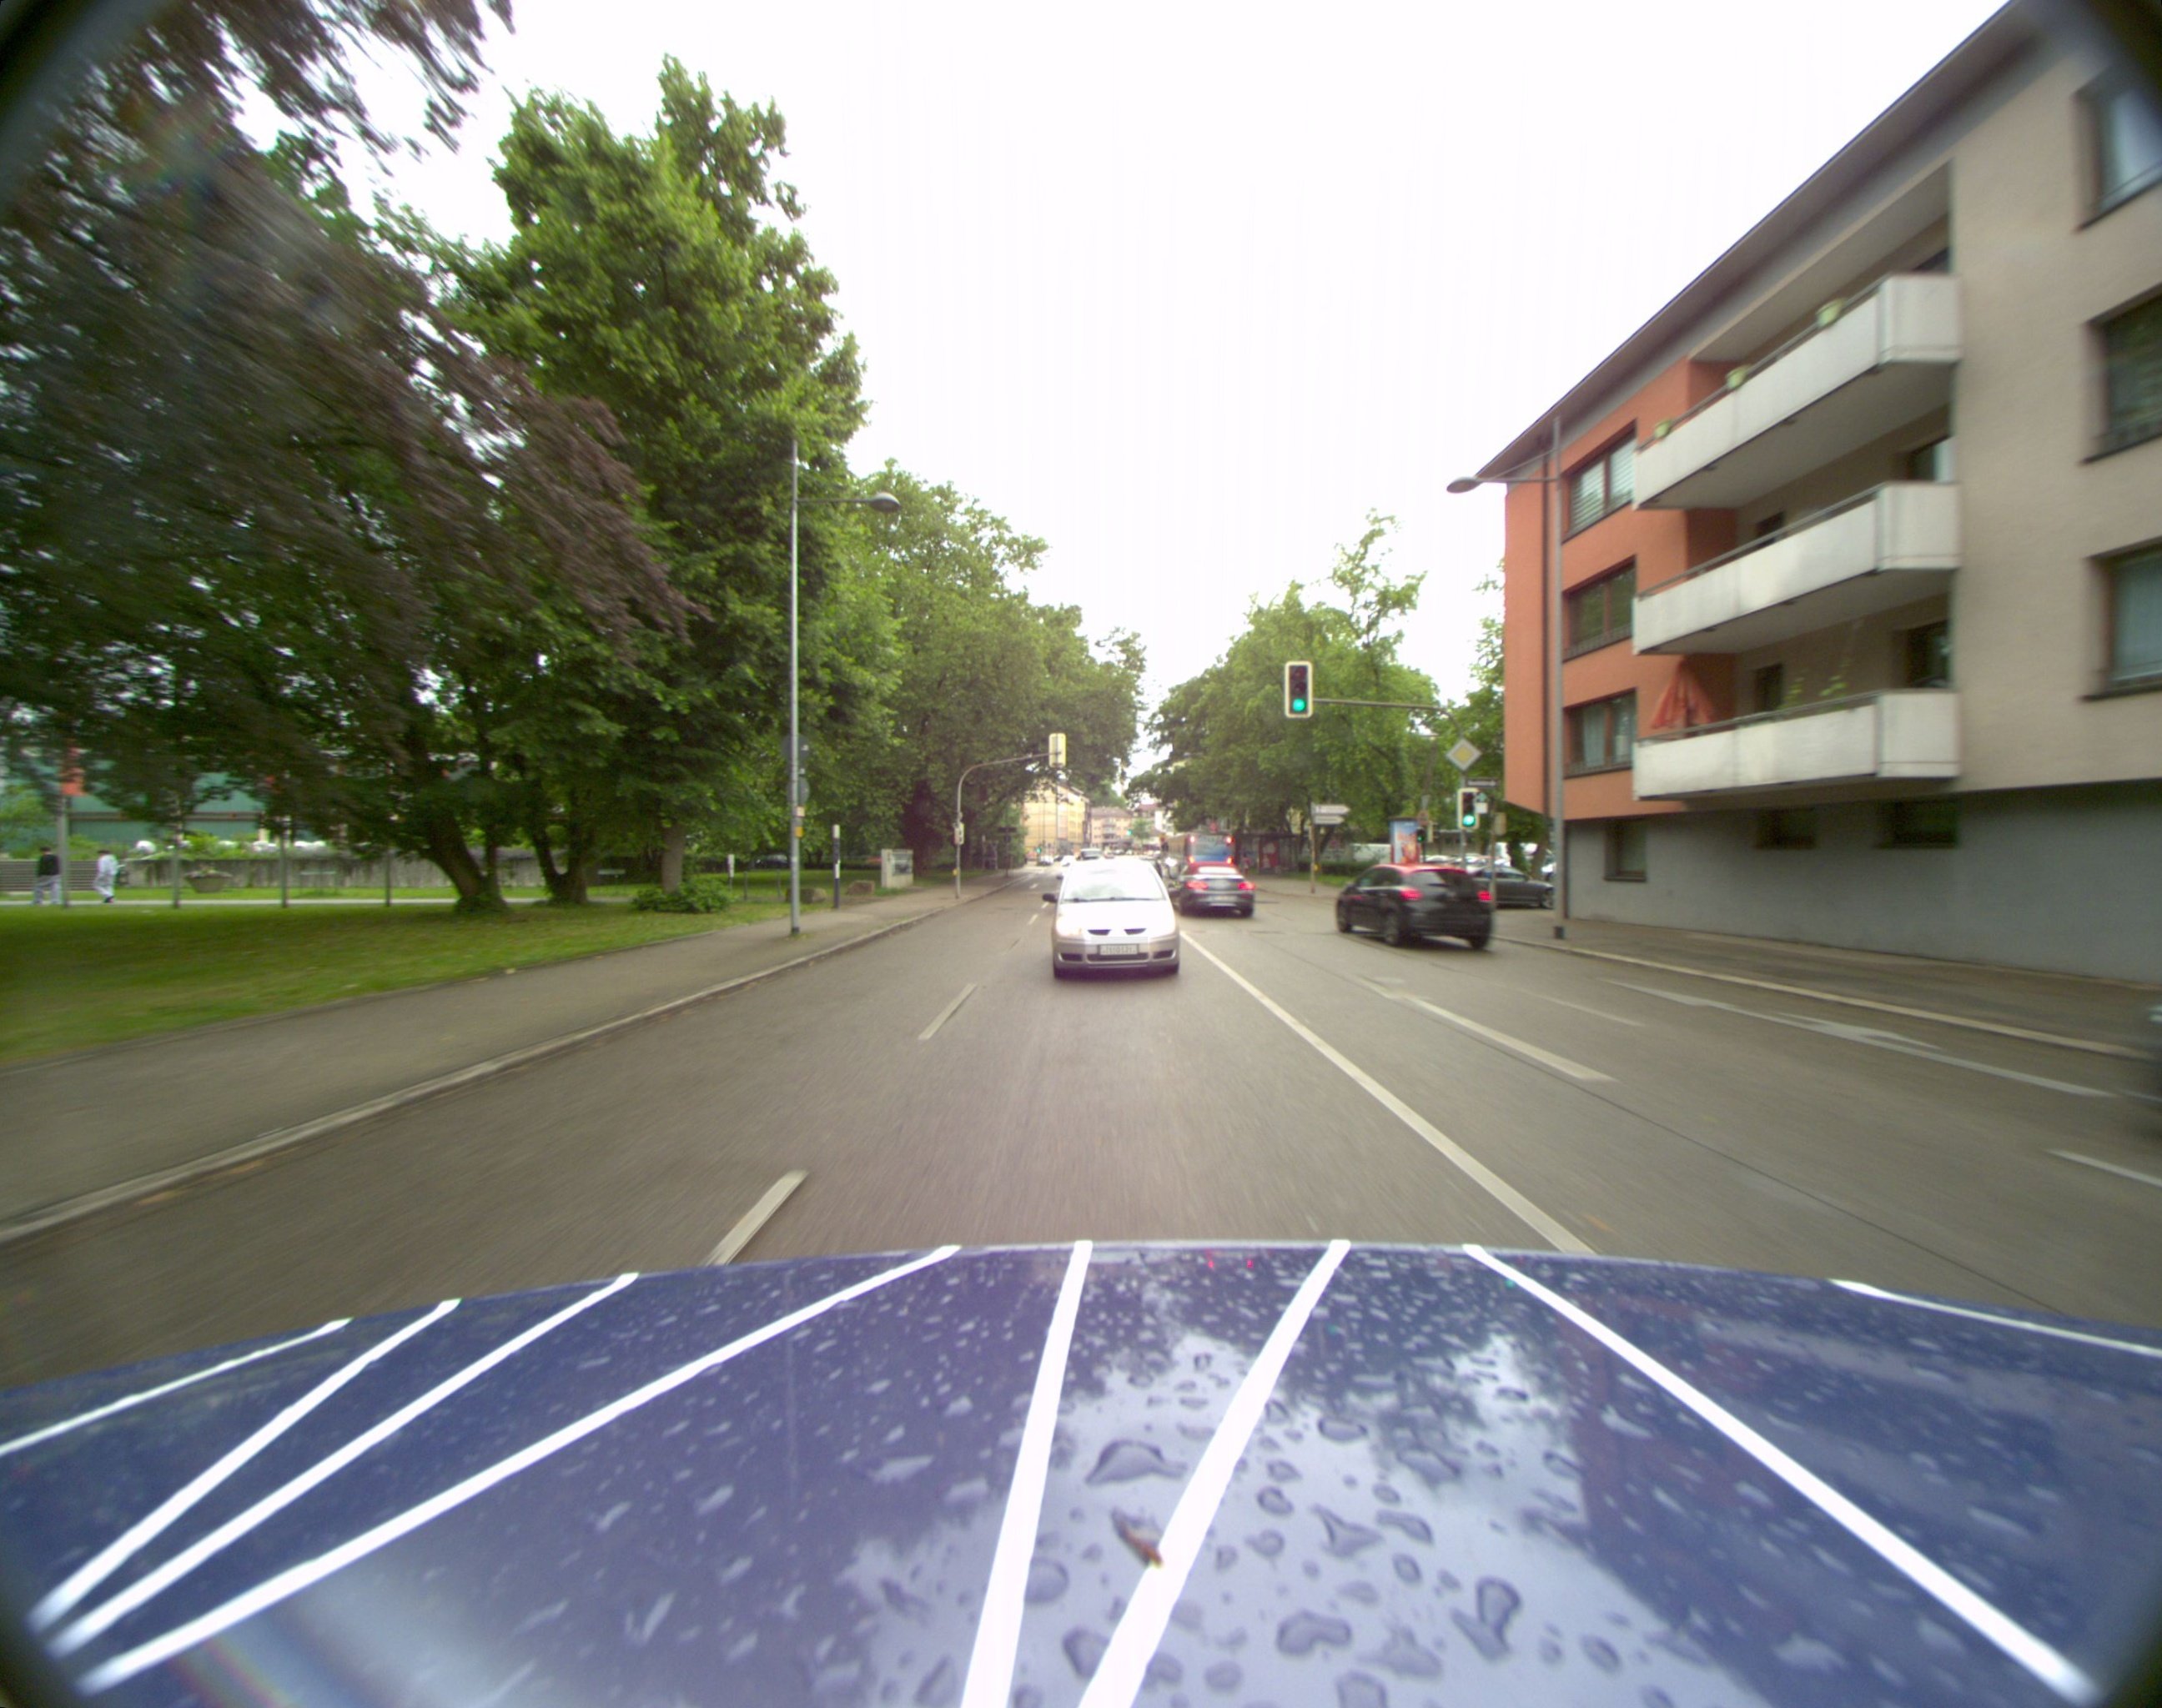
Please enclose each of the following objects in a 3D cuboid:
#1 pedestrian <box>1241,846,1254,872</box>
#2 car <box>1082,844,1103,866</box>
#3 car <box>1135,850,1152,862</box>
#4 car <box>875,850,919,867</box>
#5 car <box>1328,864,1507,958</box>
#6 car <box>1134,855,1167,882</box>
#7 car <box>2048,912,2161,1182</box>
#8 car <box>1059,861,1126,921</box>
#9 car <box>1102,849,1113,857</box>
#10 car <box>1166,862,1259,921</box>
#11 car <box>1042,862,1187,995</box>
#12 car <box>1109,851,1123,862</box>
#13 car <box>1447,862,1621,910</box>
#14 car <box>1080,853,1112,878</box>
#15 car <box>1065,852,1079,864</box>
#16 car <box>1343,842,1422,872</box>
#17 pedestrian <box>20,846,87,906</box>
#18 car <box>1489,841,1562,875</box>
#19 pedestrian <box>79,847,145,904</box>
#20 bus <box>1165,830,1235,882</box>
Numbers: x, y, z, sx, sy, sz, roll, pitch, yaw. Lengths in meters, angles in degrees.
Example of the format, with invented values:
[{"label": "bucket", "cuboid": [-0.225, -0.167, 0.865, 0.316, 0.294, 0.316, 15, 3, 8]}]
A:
[{"label": "pedestrian", "cuboid": [11.474, 0.363, 52.390, 0.711, 1.759, 0.687, -3, 1, 1]}, {"label": "car", "cuboid": [1.125, 0.077, 73.197, 2.037, 2.119, 4.000, 0, 1, 1]}, {"label": "car", "cuboid": [8.194, 0.235, 99.370, 1.802, 1.508, 4.807, 2, 0, 0]}, {"label": "car", "cuboid": [-18.676, 0.442, 77.100, 3.998, 1.706, 1.999, 0, 0, -2]}, {"label": "car", "cuboid": [6.199, 0.971, 14.529, 1.691, 1.483, 3.890, 1, 0, 0]}, {"label": "car", "cuboid": [4.015, 0.798, 43.536, 1.799, 1.449, 4.493, 1, 0, 6]}, {"label": "car", "cuboid": [6.591, 1.043, 2.163, 1.817, 1.407, 4.683, 1, 0, 2]}, {"label": "car", "cuboid": [0.307, 0.977, 21.882, 1.718, 1.509, 4.088, -1, 0, 0]}, {"label": "car", "cuboid": [5.022, -0.156, 144.059, 1.906, 1.537, 4.000, 0, 1, 2]}, {"label": "car", "cuboid": [3.448, 0.933, 20.720, 1.798, 1.407, 4.335, 1, 0, 0]}, {"label": "car", "cuboid": [0.425, 0.935, 11.680, 1.718, 1.509, 4.807, -2, 0, 0]}, {"label": "car", "cuboid": [4.942, 0.350, 108.280, 1.802, 1.508, 4.580, 2, 0, 0]}, {"label": "car", "cuboid": [14.746, 1.032, 24.821, 4.807, 1.407, 1.817, 1, 1, -10]}, {"label": "car", "cuboid": [0.998, 0.690, 48.160, 1.800, 1.449, 4.492, 0, 0, 4]}, {"label": "car", "cuboid": [-1.250, 0.556, 106.849, 1.906, 1.537, 4.000, 0, 1, 2]}, {"label": "car", "cuboid": [19.304, 0.185, 48.746, 4.334, 1.911, 1.702, 0, 0, -2]}, {"label": "pedestrian", "cuboid": [-31.107, 0.658, 23.020, 0.840, 1.753, 0.771, -3, 1, -5]}, {"label": "car", "cuboid": [35.102, 0.314, 60.073, 4.580, 2.597, 2.000, 0, 0, 2]}, {"label": "pedestrian", "cuboid": [-30.947, 0.665, 24.283, 0.840, 1.753, 0.879, -3, 1, -5]}, {"label": "bus", "cuboid": [7.415, 0.028, 48.988, 2.700, 2.923, 12.083, 1, 1, 1]}]
